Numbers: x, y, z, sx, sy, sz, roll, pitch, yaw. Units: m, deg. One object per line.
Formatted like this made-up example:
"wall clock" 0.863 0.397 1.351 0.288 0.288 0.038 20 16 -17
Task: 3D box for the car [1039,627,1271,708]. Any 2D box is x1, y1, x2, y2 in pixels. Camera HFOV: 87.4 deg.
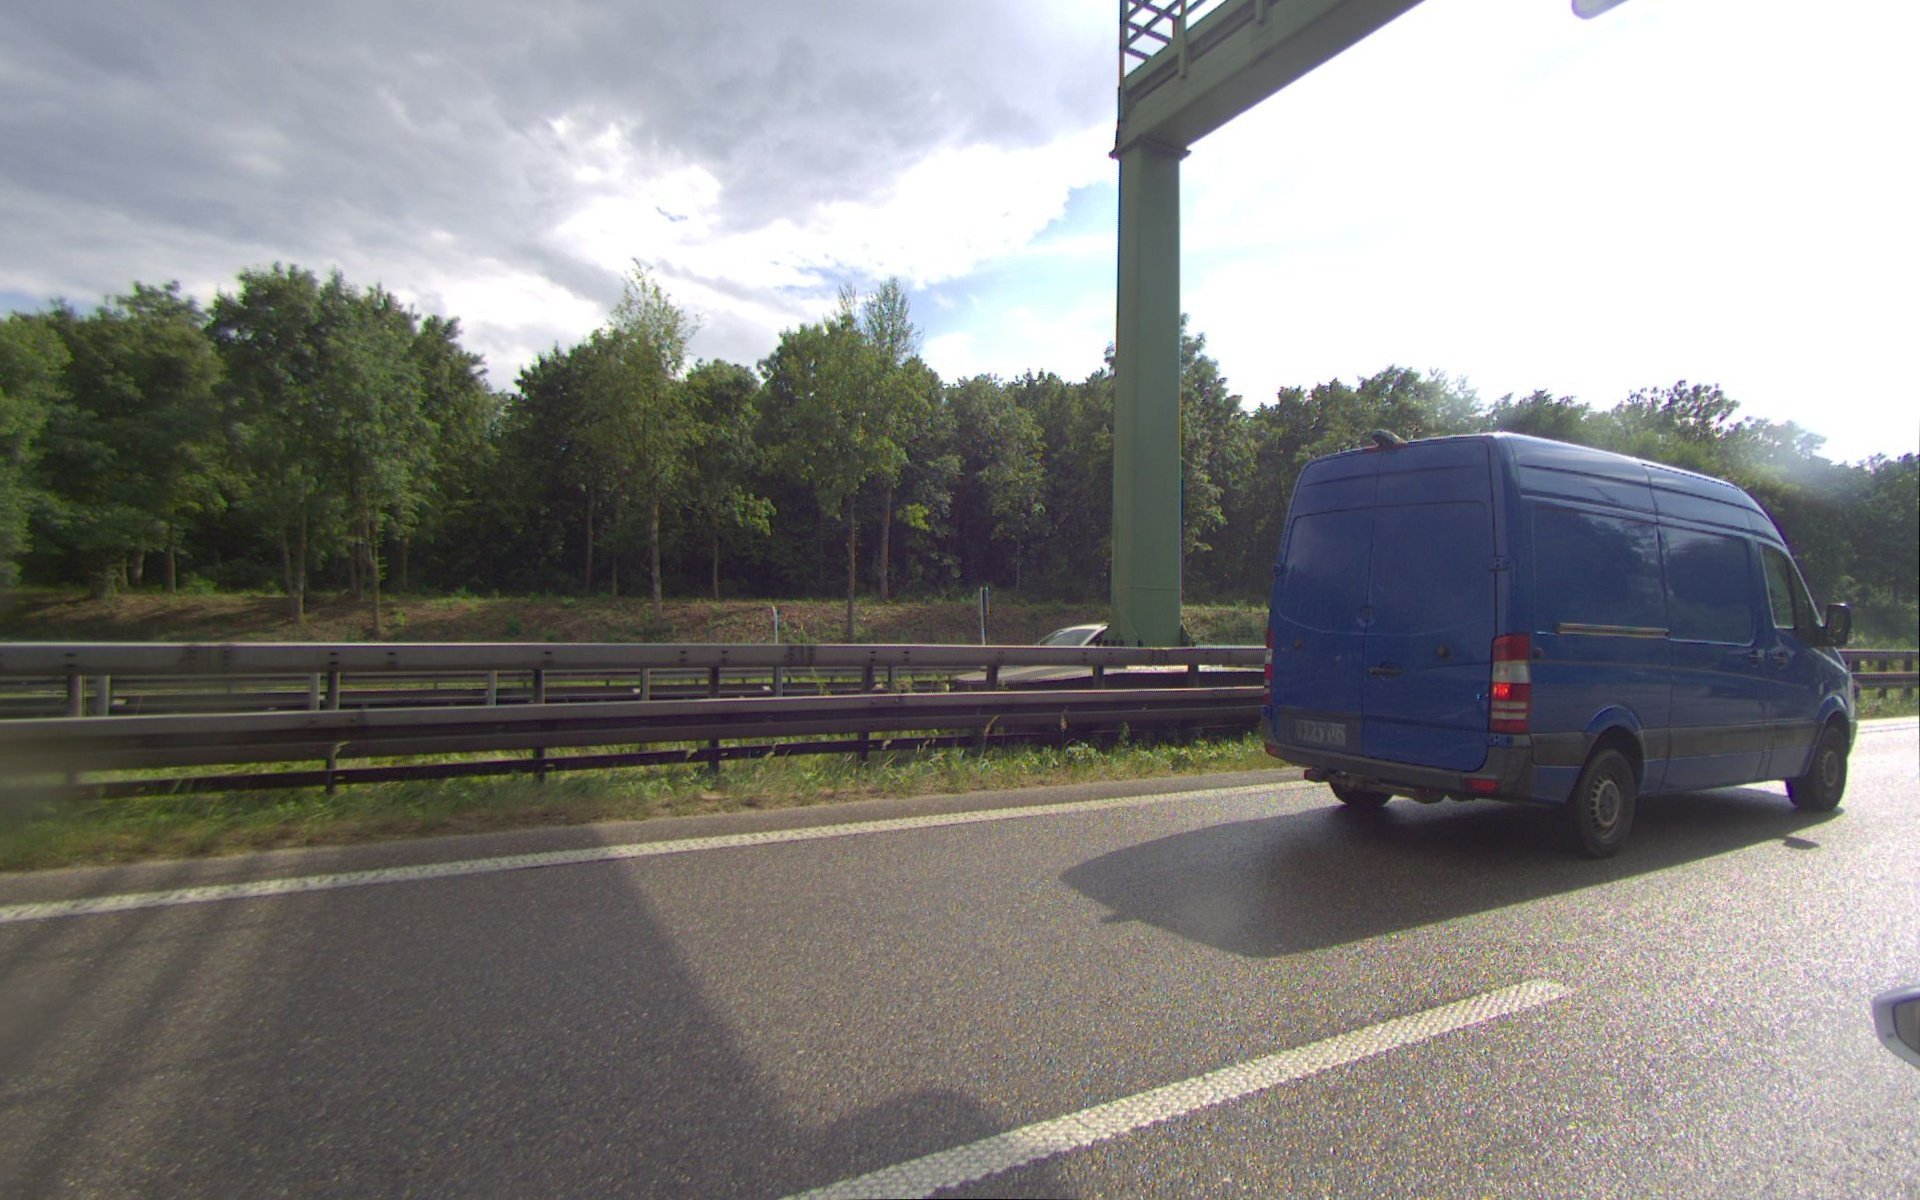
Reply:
"car" 3.567 1.167 18.229 3.954 1.313 1.835 1 -2 -31

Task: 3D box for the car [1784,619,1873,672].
"car" 36.936 1.875 42.717 3.956 2.041 1.821 -1 1 -32

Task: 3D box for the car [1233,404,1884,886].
"car" 4.953 0.318 7.967 5.711 2.684 2.005 2 0 -32
